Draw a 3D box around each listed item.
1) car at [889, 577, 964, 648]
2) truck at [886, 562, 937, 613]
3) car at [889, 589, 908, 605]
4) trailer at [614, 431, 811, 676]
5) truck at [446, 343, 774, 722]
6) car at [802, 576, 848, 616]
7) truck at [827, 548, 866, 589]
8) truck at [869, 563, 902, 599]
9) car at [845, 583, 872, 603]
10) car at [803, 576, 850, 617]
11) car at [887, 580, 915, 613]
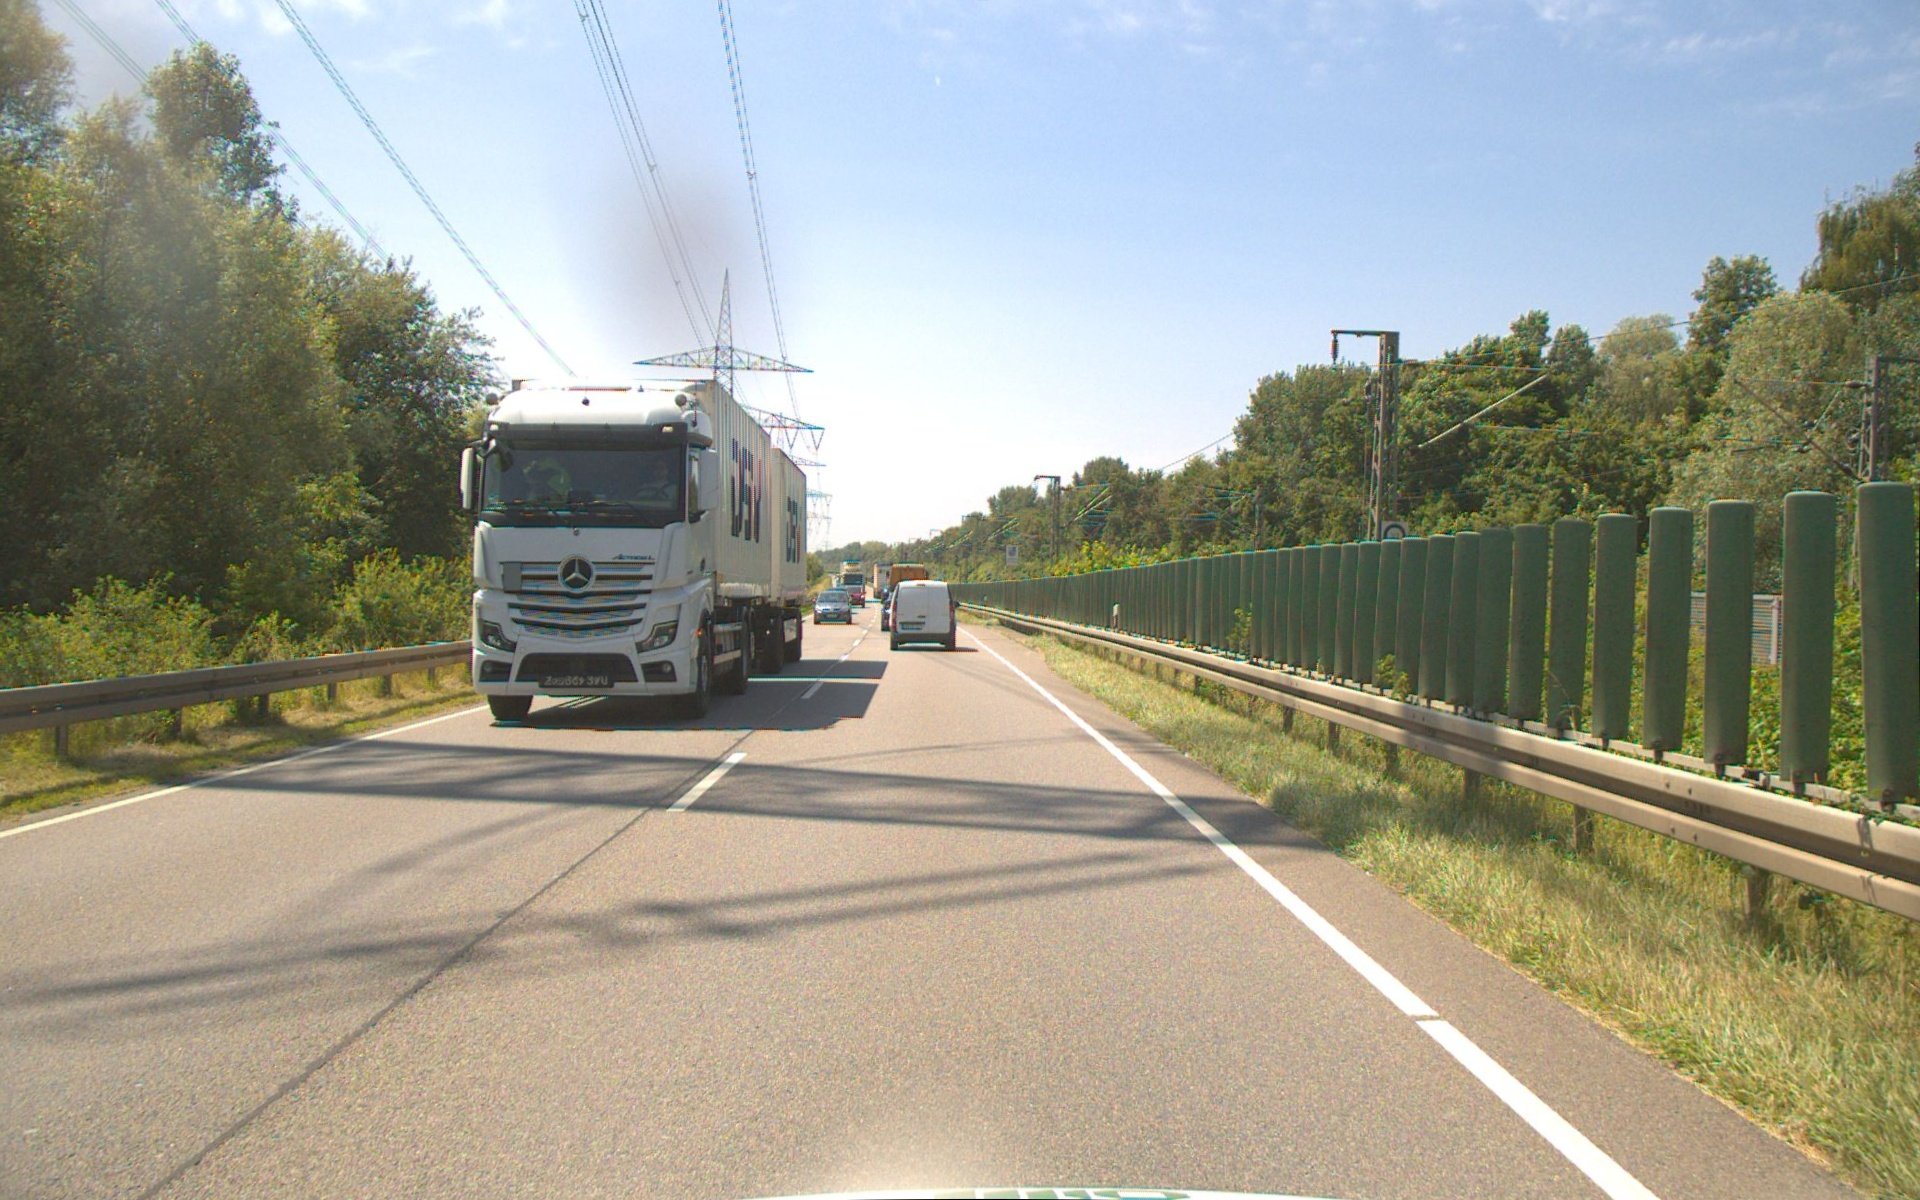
[{"bbox_3d":[-0.946,0.316,44.317,1.838,1.772,3.998,1,0,-3],"label":"car"},{"bbox_3d":[-3.533,-1.011,117.952,3.231,3.226,14.400,4,1,-2],"label":"truck"},{"bbox_3d":[-6.281,-0.309,168.634,1.954,1.553,3.998,1,0,-3],"label":"car"},{"bbox_3d":[-4.558,-0.816,32.296,2.664,4.113,9.072,0,0,-1],"label":"trailer"},{"bbox_3d":[-4.349,-0.777,22.857,2.687,4.113,9.662,0,0,-1],"label":"truck"},{"bbox_3d":[-6.159,-0.177,75.836,1.954,1.772,3.998,1,0,-3],"label":"car"},{"bbox_3d":[-11.906,-3.390,175.012,3.334,3.921,16.812,4,1,-2],"label":"truck"},{"bbox_3d":[-9.109,-2.451,201.386,3.336,3.921,16.805,4,1,-4],"label":"truck"},{"bbox_3d":[-7.980,-0.553,130.065,1.953,1.553,3.999,1,0,-2],"label":"car"},{"bbox_3d":[-6.099,-0.164,75.838,1.953,1.772,3.999,1,0,-2],"label":"car"},{"bbox_3d":[-3.796,-0.242,106.634,1.728,2.049,3.998,1,0,-2],"label":"car"}]
